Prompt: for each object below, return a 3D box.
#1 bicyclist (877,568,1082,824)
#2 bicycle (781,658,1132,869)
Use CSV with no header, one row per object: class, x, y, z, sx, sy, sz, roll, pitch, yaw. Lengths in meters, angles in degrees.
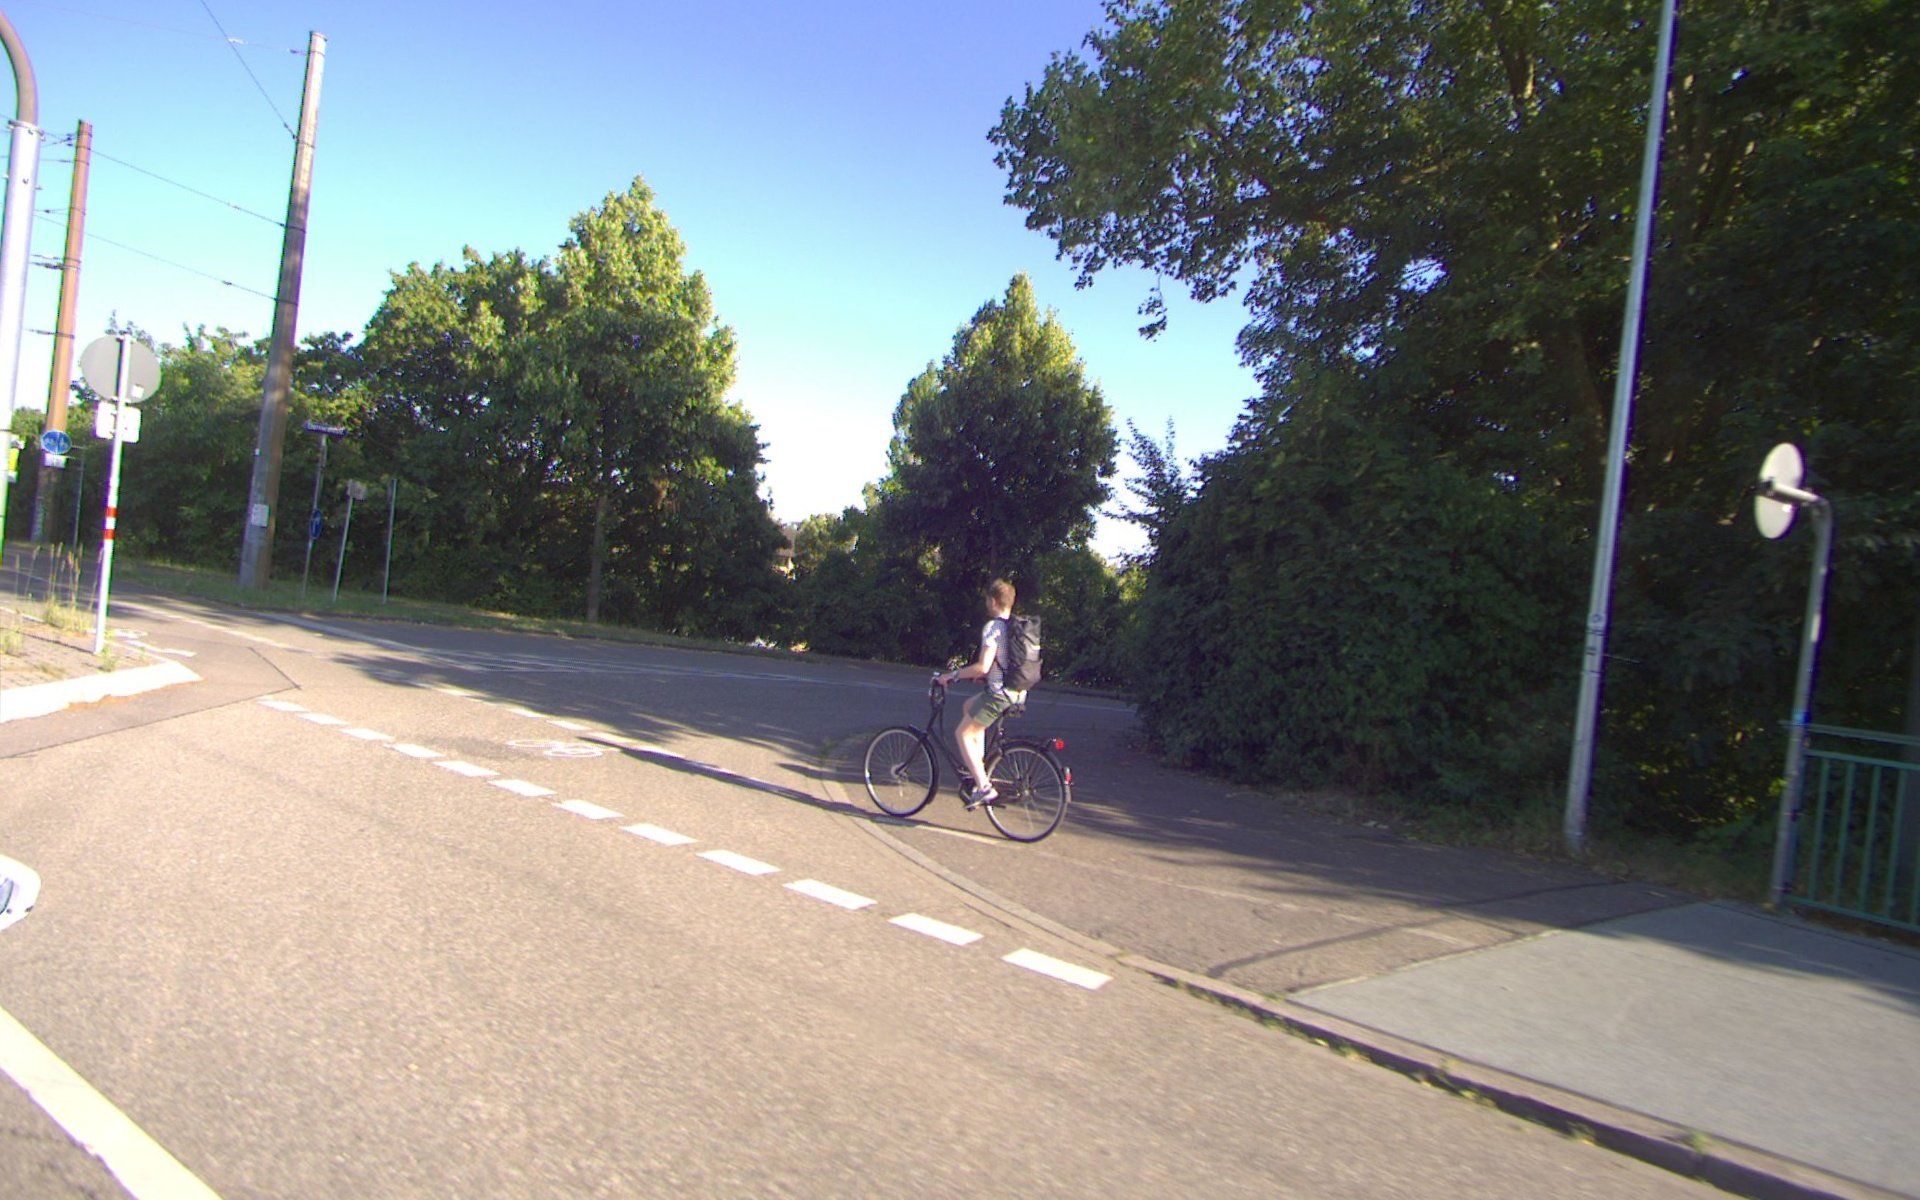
bicyclist,0.140,0.678,7.532,1.184,1.709,0.731,5,-1,37
bicycle,-0.115,1.145,7.665,2.701,1.136,0.731,4,-2,37
